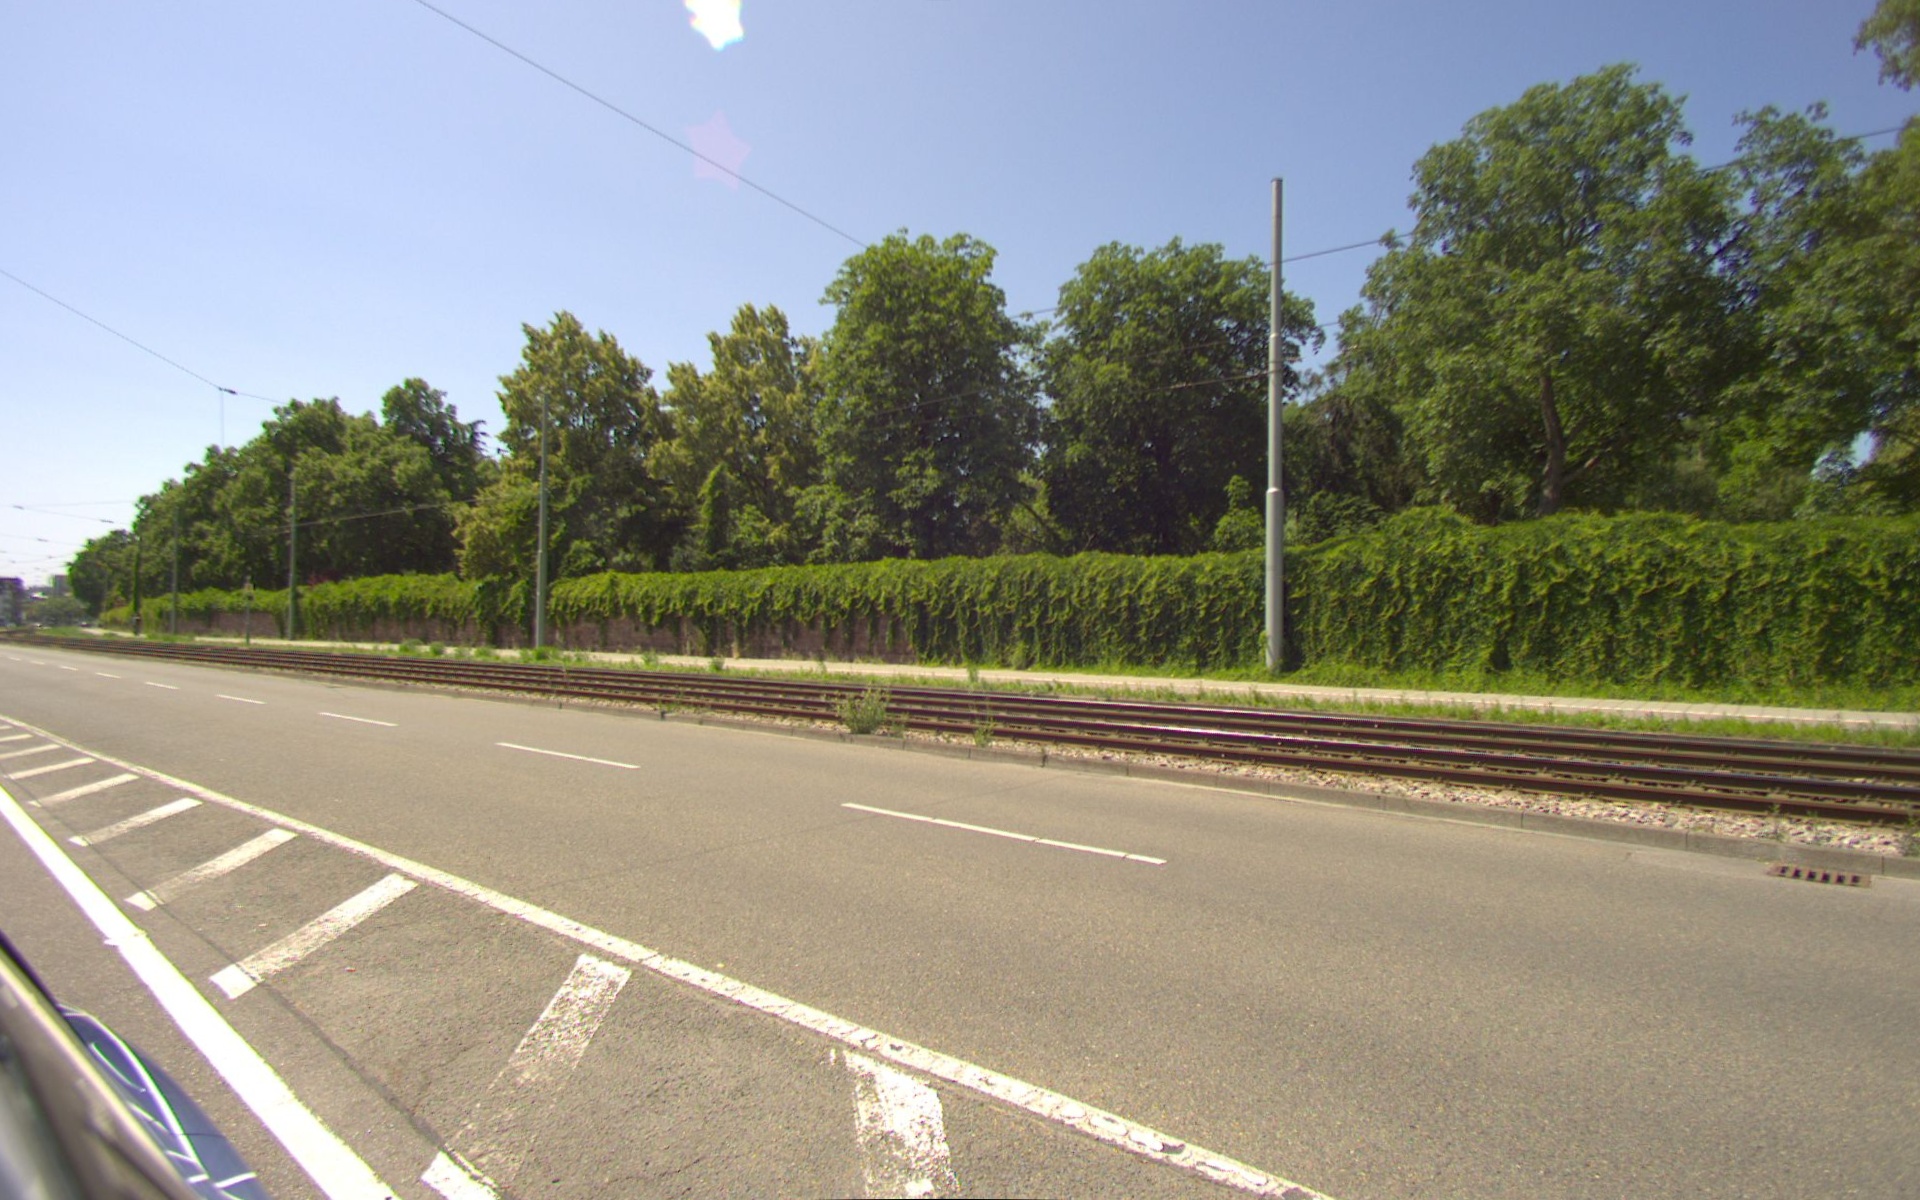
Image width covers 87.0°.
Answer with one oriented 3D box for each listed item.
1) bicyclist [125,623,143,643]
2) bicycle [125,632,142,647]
[{"bbox_3d":[-64.763,2.574,79.327,0.983,1.497,1.001,1,-2,-44],"label":"bicyclist"},{"bbox_3d":[-64.783,3.106,79.314,0.819,1.165,2.687,1,-2,-45],"label":"bicycle"}]
